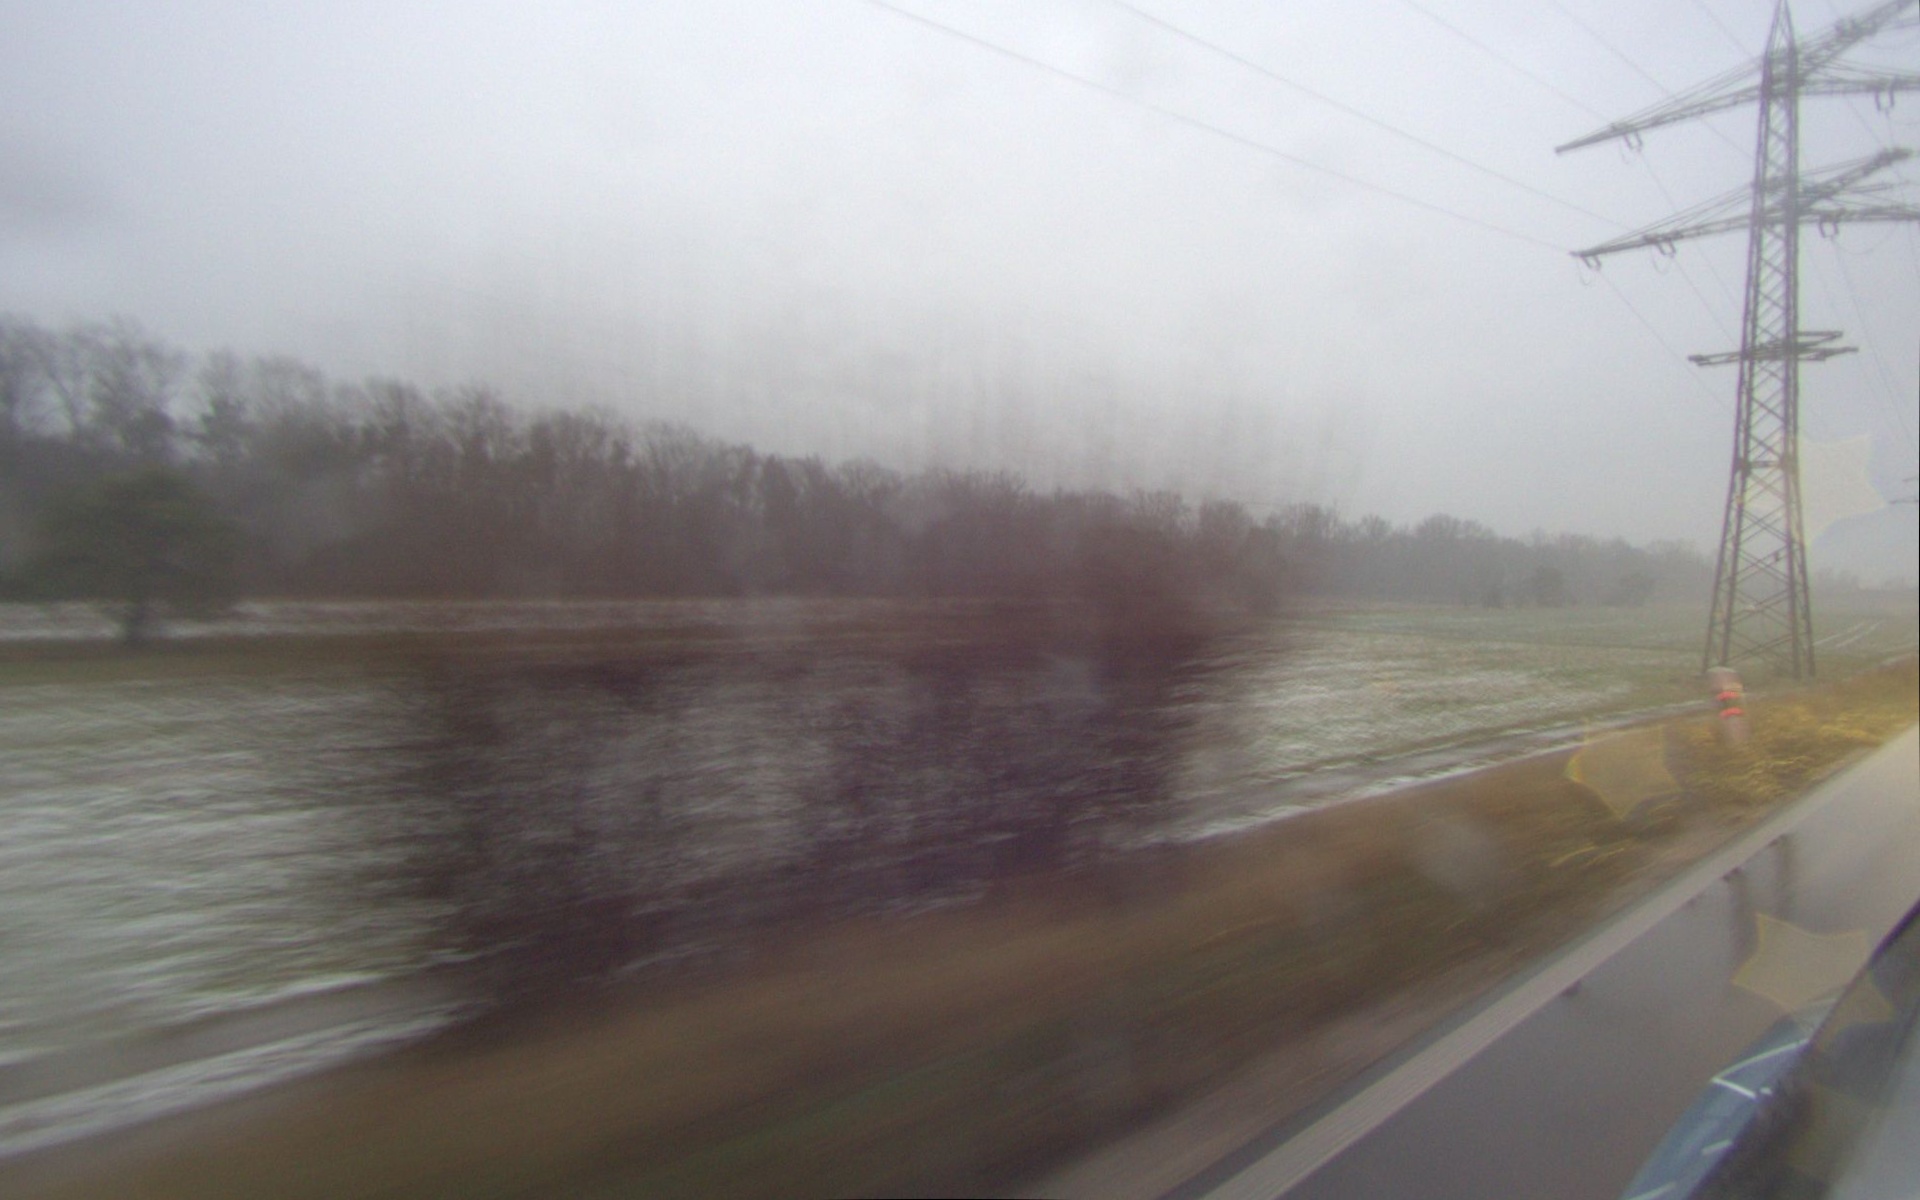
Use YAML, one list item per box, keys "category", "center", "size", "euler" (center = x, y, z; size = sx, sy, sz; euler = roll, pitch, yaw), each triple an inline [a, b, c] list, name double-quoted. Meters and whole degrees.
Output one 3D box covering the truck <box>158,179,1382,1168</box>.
- category: "truck"
  center: [-0.263, 0.190, 6.631]
  size: [7.723, 3.015, 2.537]
  euler: [0, 0, -42]
